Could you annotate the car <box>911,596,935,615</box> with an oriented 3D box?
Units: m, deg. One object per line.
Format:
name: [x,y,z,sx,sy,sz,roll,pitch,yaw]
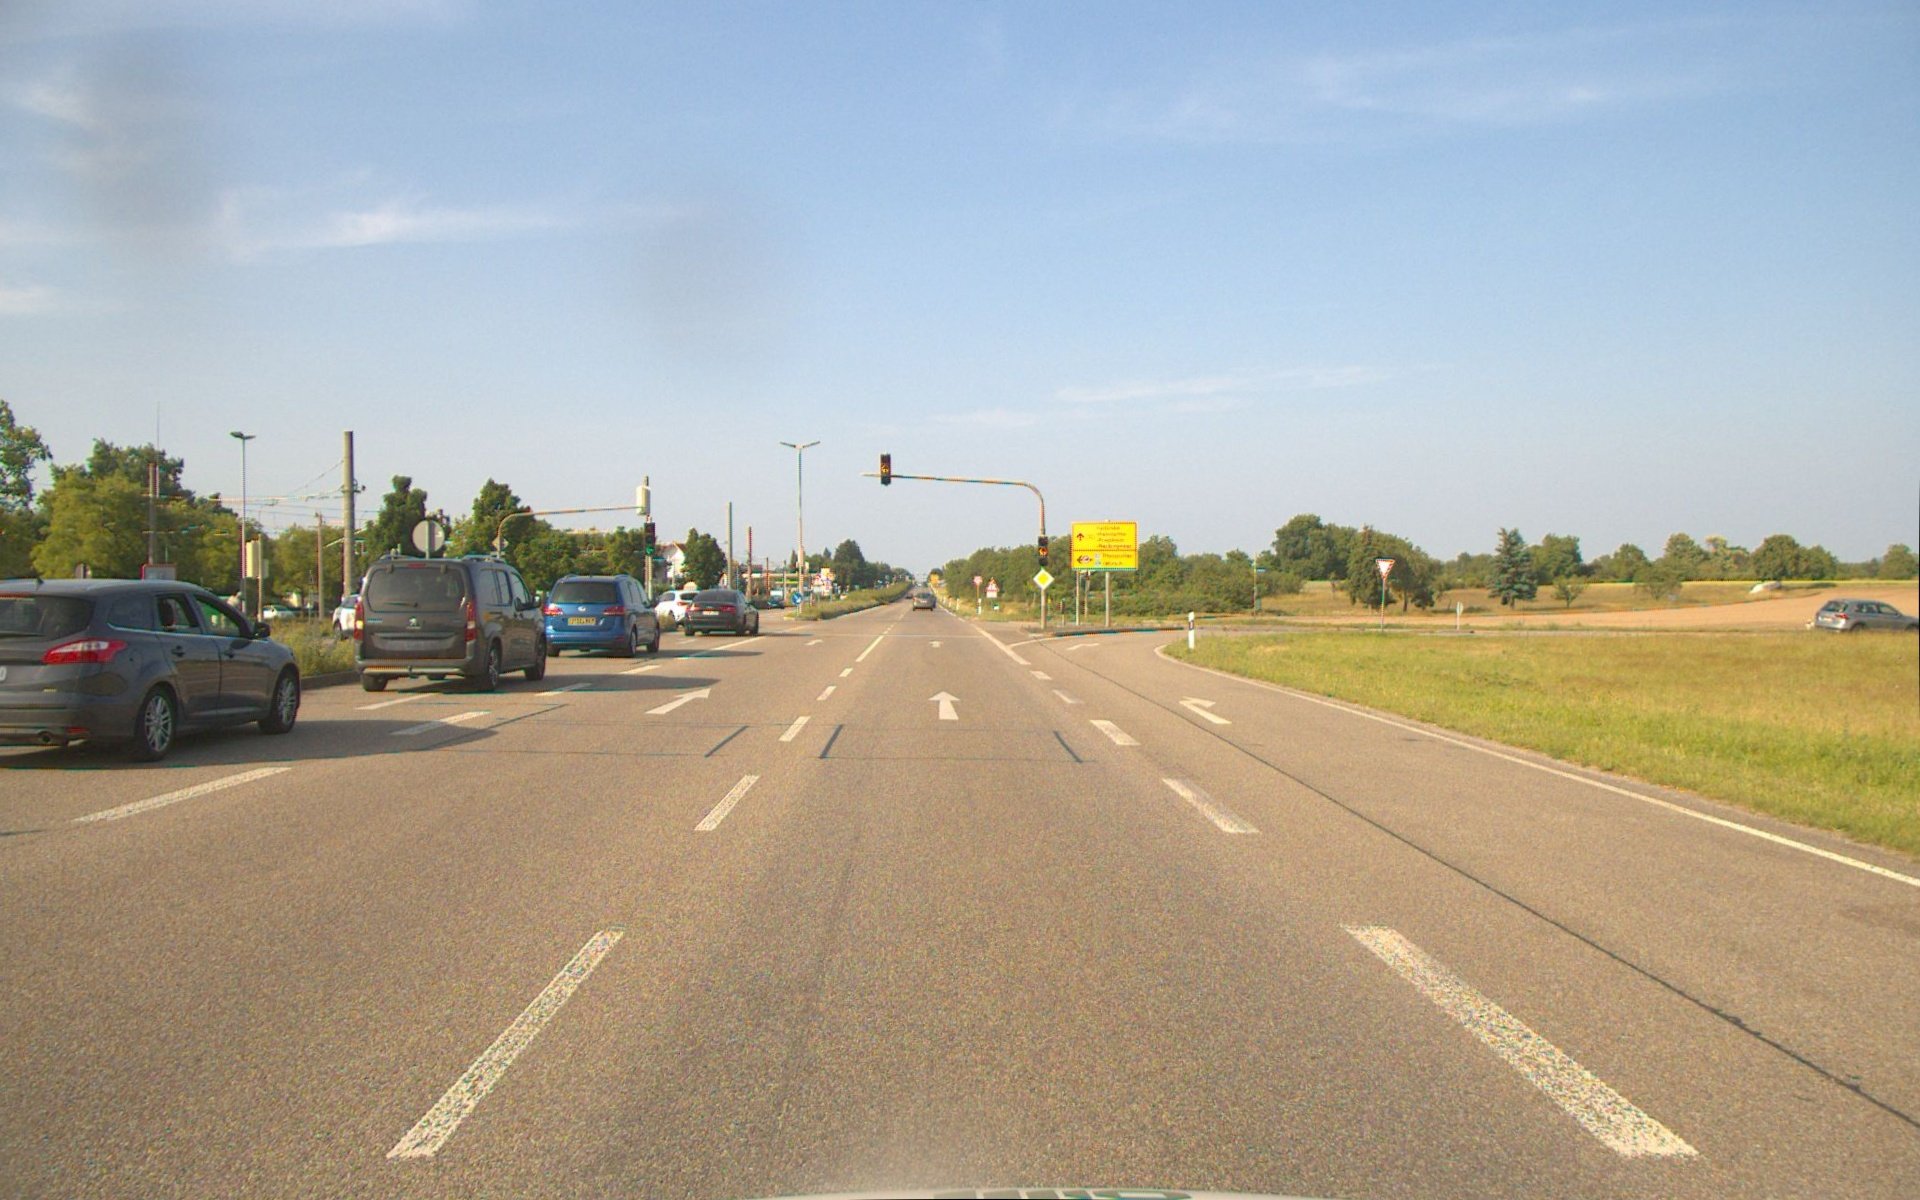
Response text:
car: [-3.163,0.467,142.271,1.953,1.579,3.999,0,0,-1]

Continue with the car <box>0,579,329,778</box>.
car: [-7.245,0.565,14.555,1.697,1.481,4.519,0,0,-1]

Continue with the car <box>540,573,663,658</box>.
car: [-7.672,0.295,35.772,1.734,1.708,4.519,0,0,-1]

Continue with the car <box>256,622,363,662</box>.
car: [-29.568,1.902,75.263,4.205,1.747,1.912,0,0,-11]

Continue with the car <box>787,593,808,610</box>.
car: [-16.543,0.141,168.768,1.763,1.651,3.621,1,-1,-1]

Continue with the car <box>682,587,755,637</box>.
car: [-7.528,0.348,51.899,1.734,1.497,4.014,0,0,-1]

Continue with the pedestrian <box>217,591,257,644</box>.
pedestrian: [-23.944,0.578,54.796,0.898,1.736,1.066,2,-1,-7]

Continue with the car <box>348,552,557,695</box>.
car: [-7.239,0.295,24.062,1.697,1.888,4.519,0,0,-1]

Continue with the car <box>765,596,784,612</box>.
car: [-19.948,0.432,177.634,1.654,1.691,3.758,0,0,-1]

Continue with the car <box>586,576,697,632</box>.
car: [-12.188,0.135,63.256,3.909,2.049,1.833,0,0,27]

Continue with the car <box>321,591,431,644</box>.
car: [-19.578,0.582,55.355,3.931,1.691,1.874,0,-2,44]

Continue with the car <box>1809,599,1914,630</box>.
car: [36.524,0.579,67.014,3.562,1.240,1.560,0,0,-10]
